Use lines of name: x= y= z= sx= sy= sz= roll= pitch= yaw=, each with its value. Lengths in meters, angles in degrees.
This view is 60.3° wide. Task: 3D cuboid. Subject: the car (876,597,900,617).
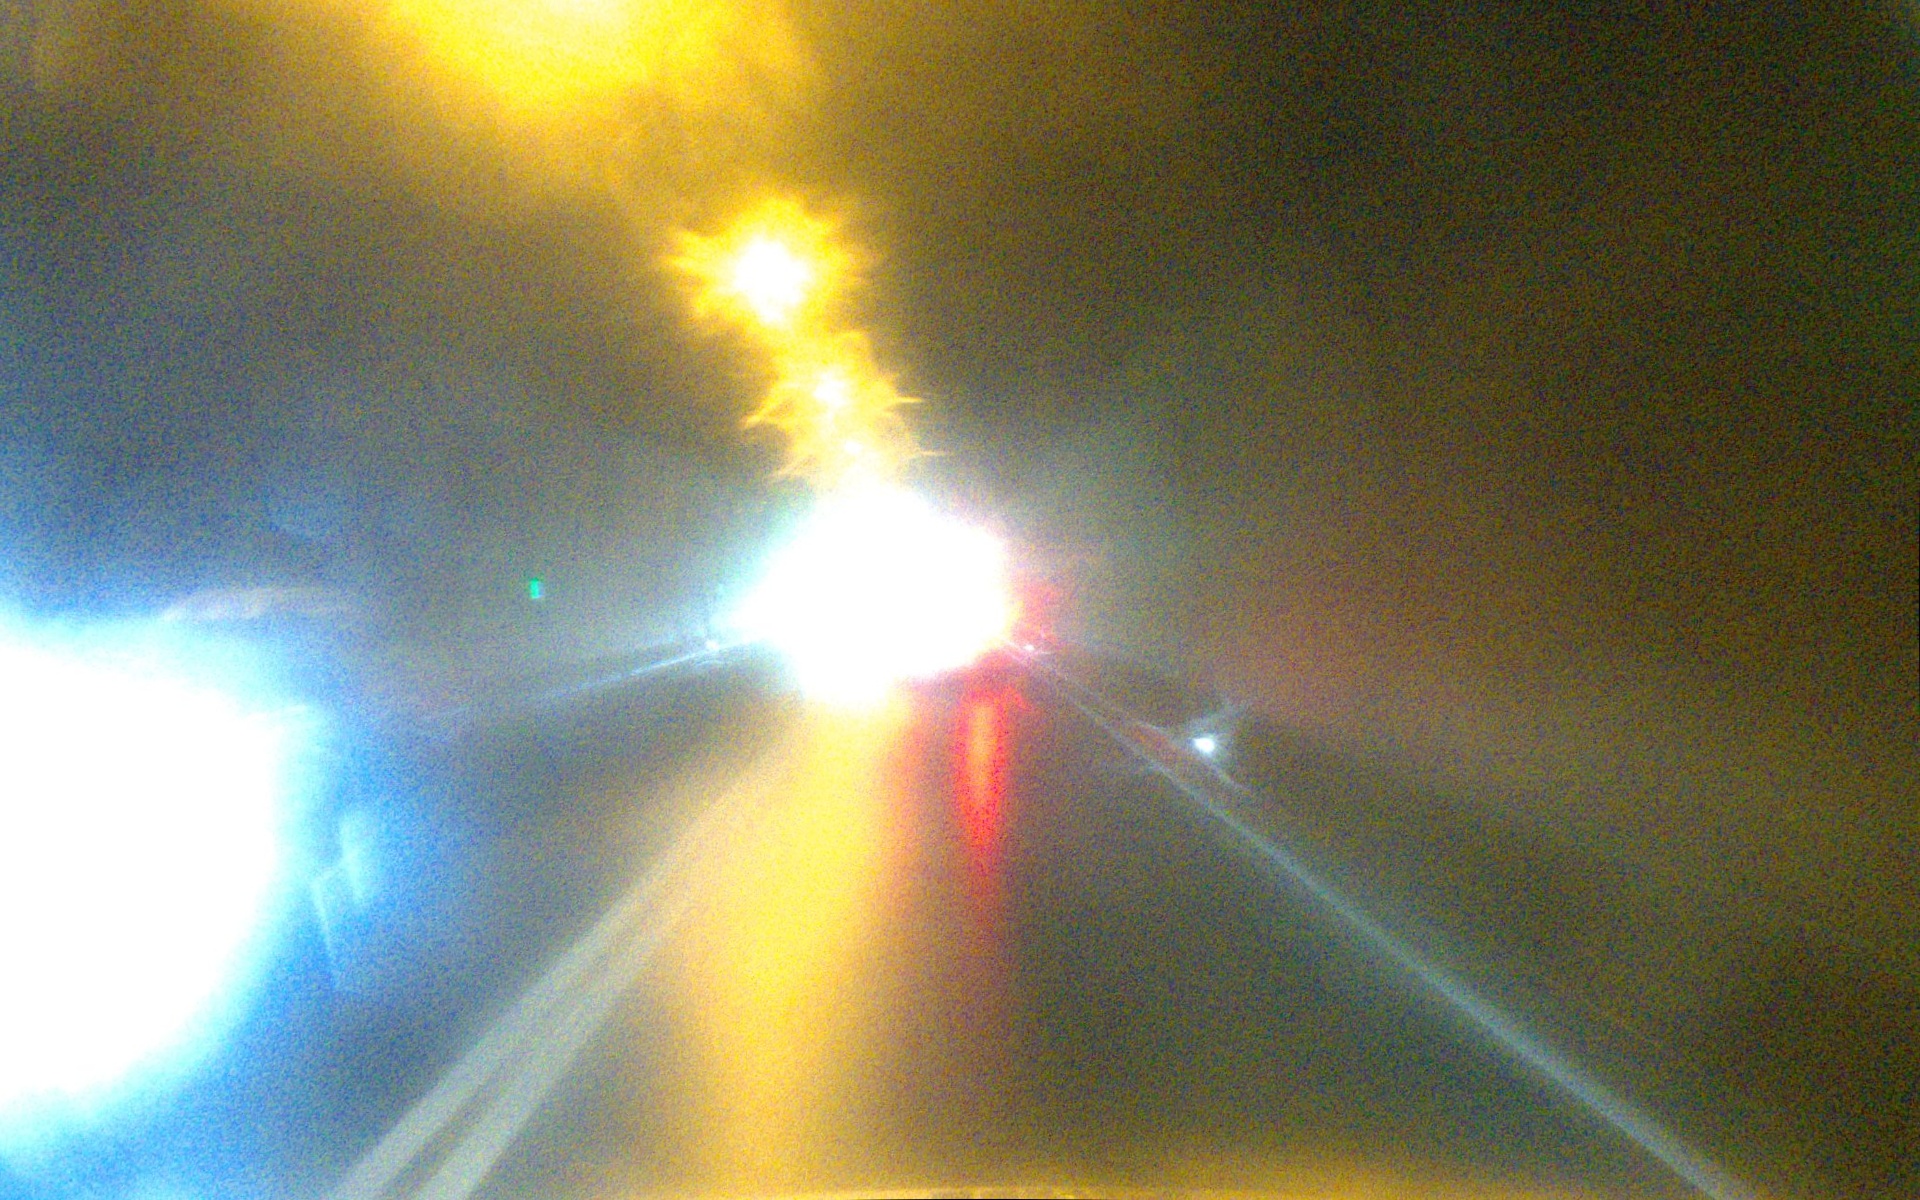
car: x=-5.690 y=0.519 z=130.694 sx=1.742 sy=1.433 sz=4.290 roll=-1 pitch=1 yaw=-4

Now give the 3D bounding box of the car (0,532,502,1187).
car: x=-3.096 y=0.609 z=6.176 sx=1.602 sy=1.630 sz=4.146 roll=-1 pitch=1 yaw=0

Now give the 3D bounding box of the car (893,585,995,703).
car: x=-0.253 y=0.673 z=28.232 sx=1.602 sy=1.788 sz=4.146 roll=-1 pitch=1 yaw=0
